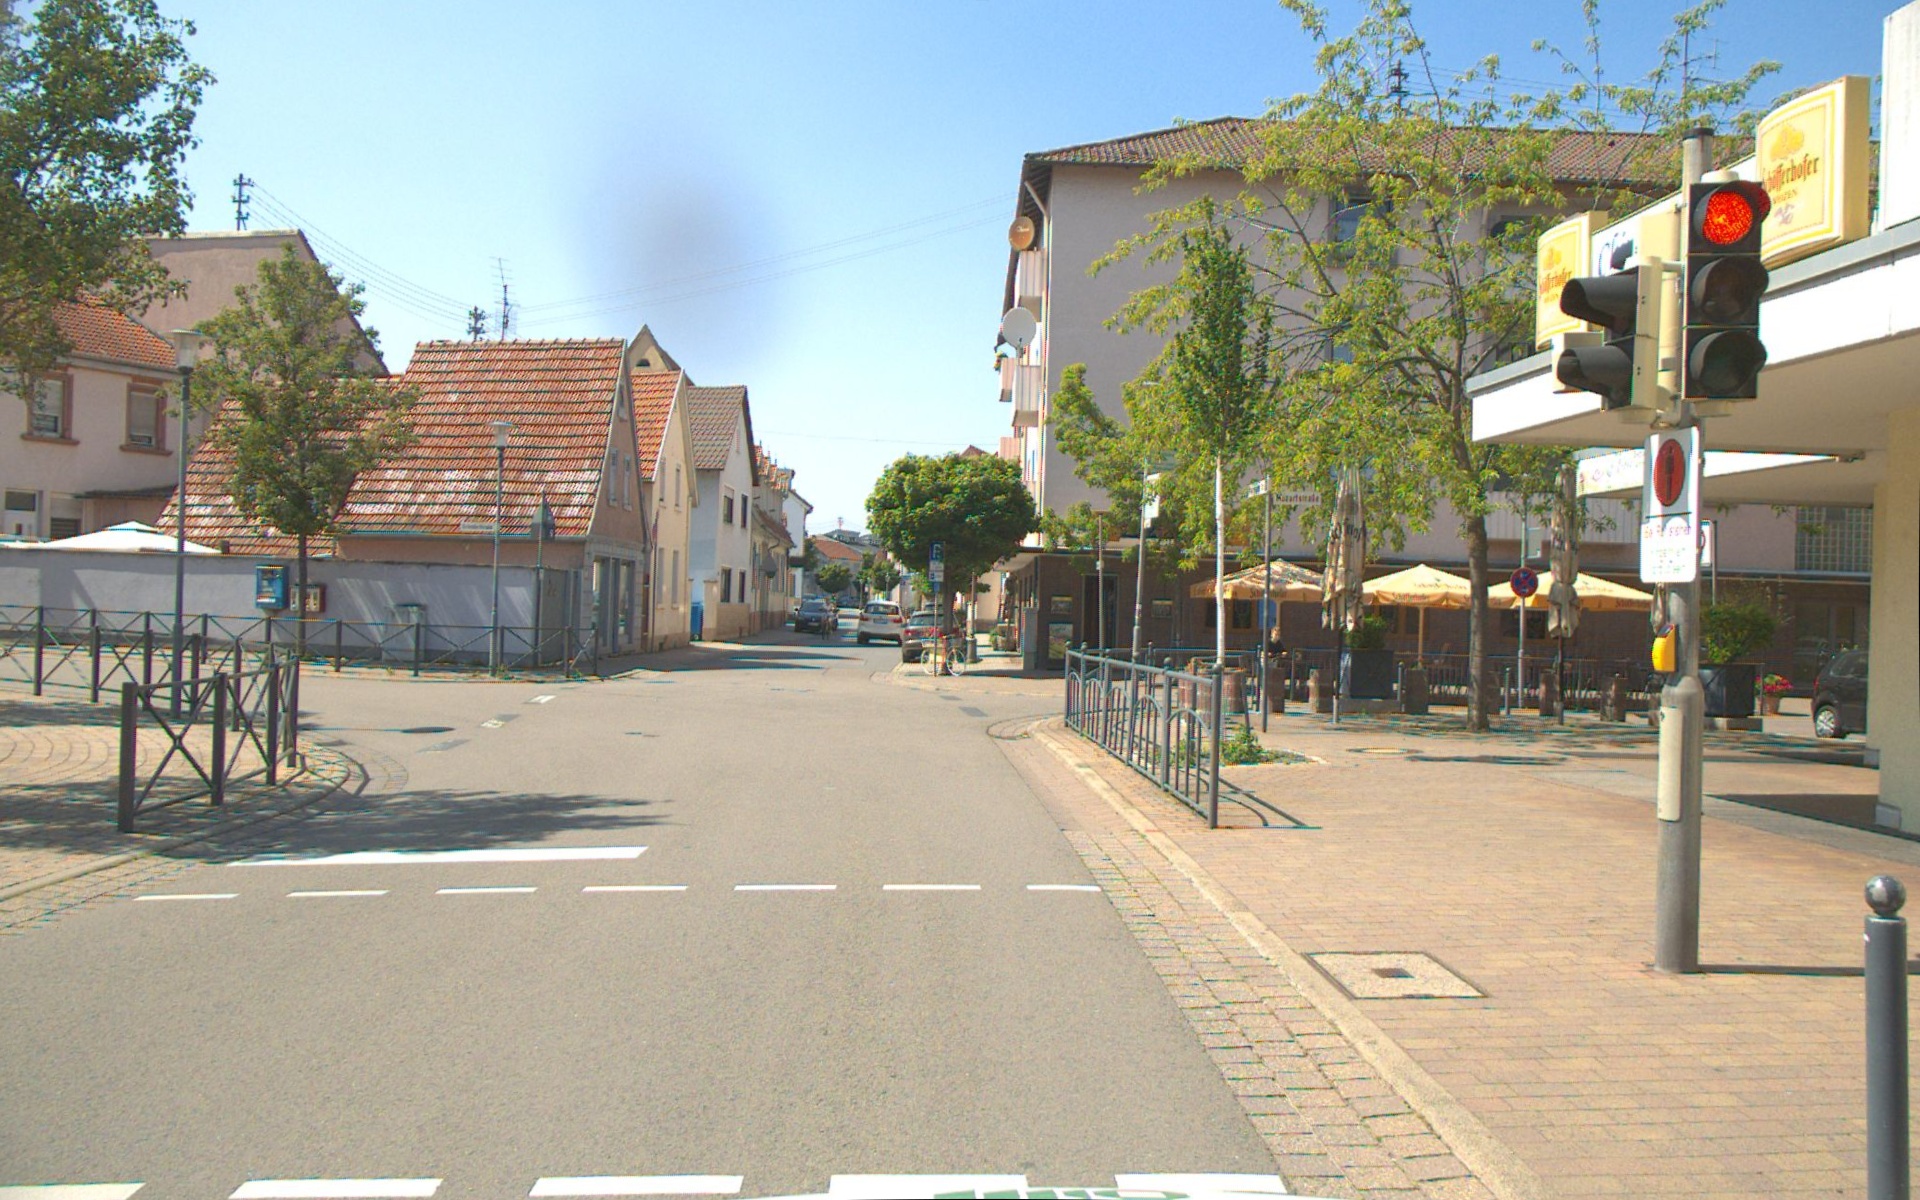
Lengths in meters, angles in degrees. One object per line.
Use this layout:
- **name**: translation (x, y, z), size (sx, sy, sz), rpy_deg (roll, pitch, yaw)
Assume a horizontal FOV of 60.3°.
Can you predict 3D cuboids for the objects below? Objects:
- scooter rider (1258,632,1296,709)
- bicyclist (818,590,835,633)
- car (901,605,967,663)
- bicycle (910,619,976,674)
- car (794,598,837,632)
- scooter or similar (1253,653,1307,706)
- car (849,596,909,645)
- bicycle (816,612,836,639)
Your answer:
- **scooter rider**: translation (5.552, 1.229, 28.970), size (0.513, 1.308, 0.412), rpy_deg (2, -1, -41)
- **bicyclist**: translation (-5.448, 0.476, 67.536), size (0.655, 1.720, 0.761), rpy_deg (1, -1, -1)
- **car**: translation (-0.704, 0.939, 47.378), size (1.768, 1.528, 4.000), rpy_deg (2, 0, 0)
- **bicycle**: translation (-0.410, 1.082, 38.609), size (0.523, 1.214, 1.648), rpy_deg (2, -1, -44)
- **car**: translation (-6.782, 0.690, 77.927), size (1.679, 1.543, 3.786), rpy_deg (2, 0, 0)
- **scooter or similar**: translation (5.585, 1.381, 28.914), size (0.376, 0.889, 0.877), rpy_deg (2, -1, -41)
- **car**: translation (-3.020, 0.743, 62.397), size (1.796, 1.680, 4.001), rpy_deg (3, 0, 2)
- **bicycle**: translation (-5.458, 1.032, 67.491), size (0.660, 1.113, 1.895), rpy_deg (0, 0, -1)
